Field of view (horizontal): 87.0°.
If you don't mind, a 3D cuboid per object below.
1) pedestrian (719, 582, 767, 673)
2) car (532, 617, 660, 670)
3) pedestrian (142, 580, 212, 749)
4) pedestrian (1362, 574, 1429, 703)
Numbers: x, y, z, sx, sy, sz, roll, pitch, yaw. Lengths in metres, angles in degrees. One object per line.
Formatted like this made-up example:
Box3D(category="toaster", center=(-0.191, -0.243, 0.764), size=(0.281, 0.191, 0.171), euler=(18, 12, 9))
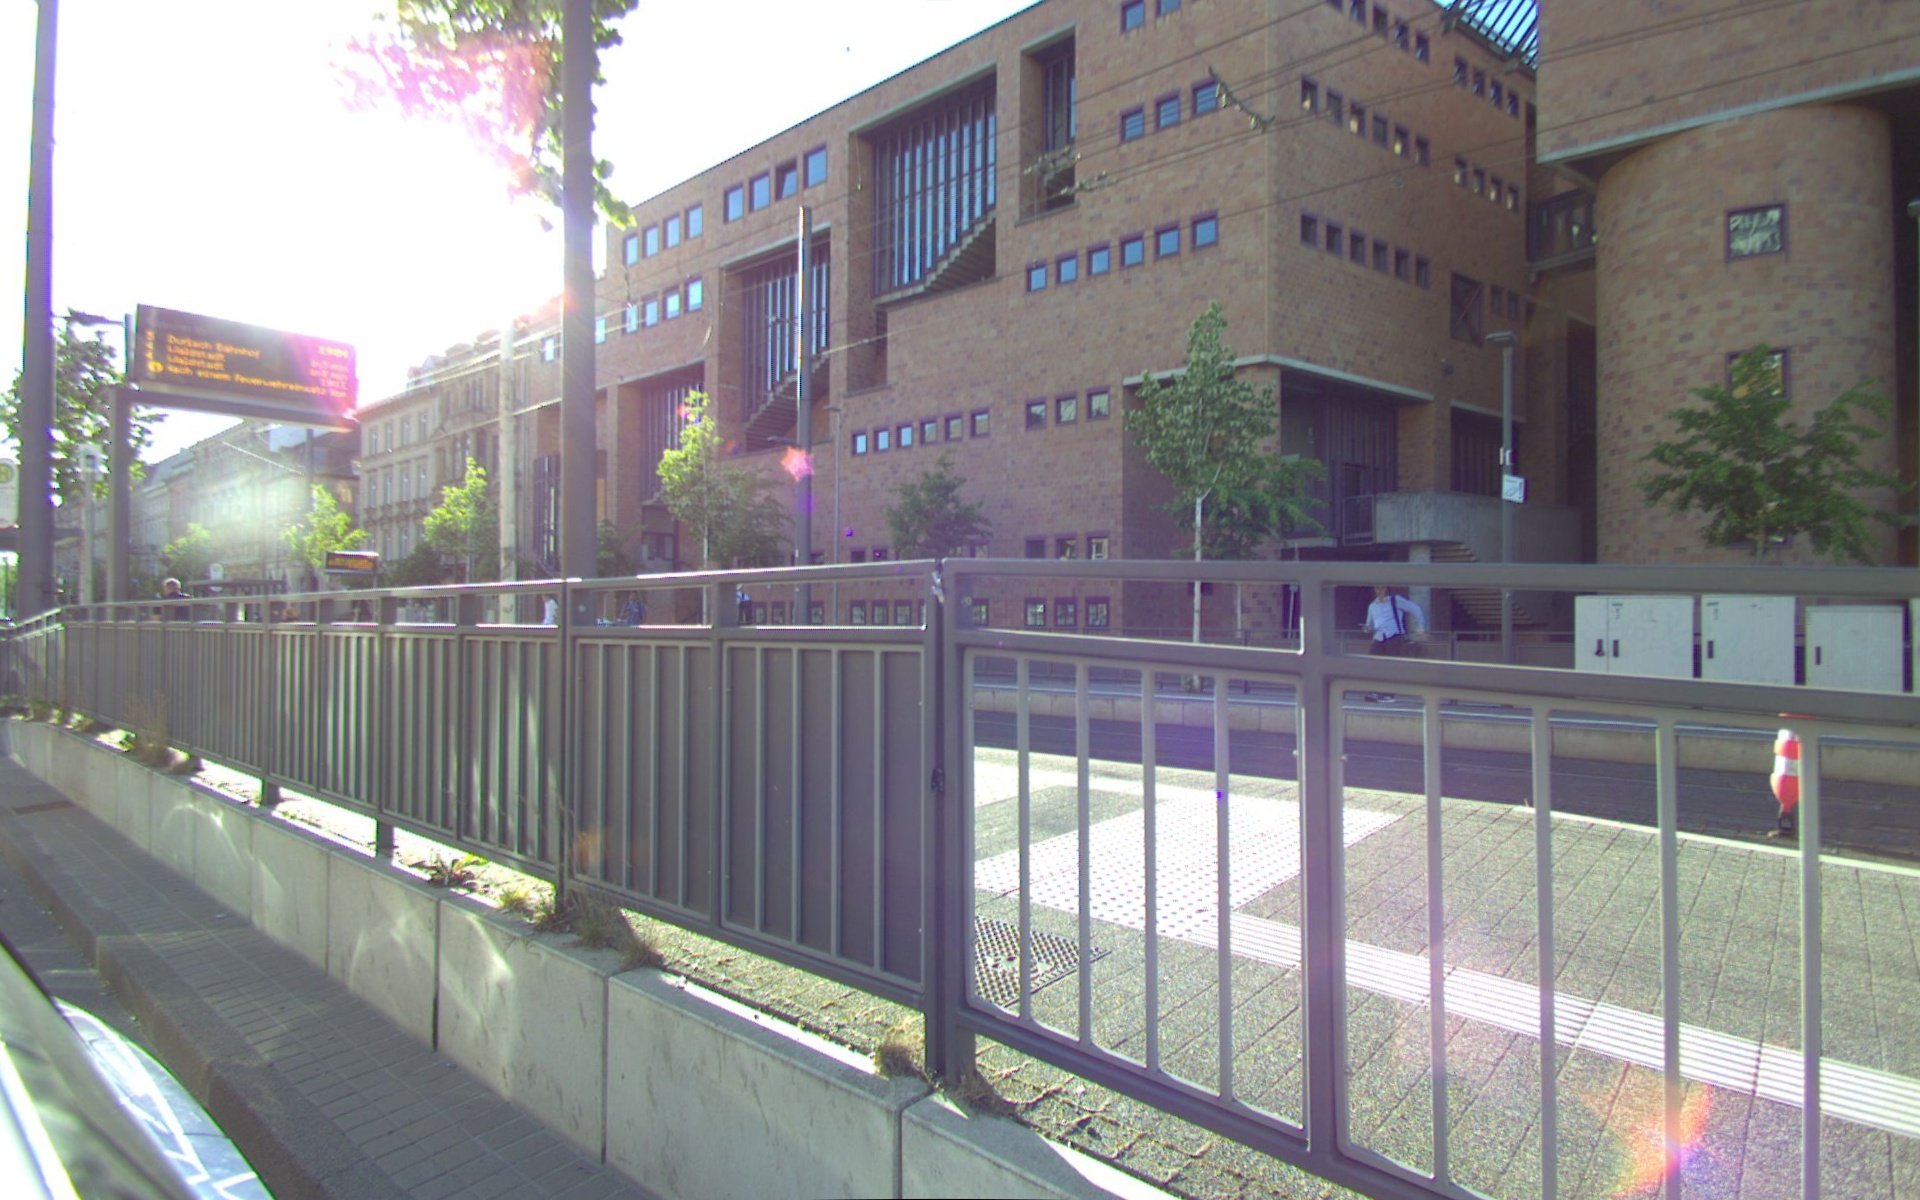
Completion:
Box3D(category="pedestrian", center=(-4.436, 0.541, 20.714), size=(0.668, 1.821, 0.677), euler=(0, 0, 40))
Box3D(category="car", center=(-11.844, 1.361, 32.784), size=(4.691, 1.580, 1.806), euler=(0, -2, 40))
Box3D(category="pedestrian", center=(-11.728, 0.933, 15.160), size=(0.625, 2.461, 0.676), euler=(0, 0, 38))
Box3D(category="pedestrian", center=(5.775, 0.492, 13.412), size=(0.684, 1.647, 0.660), euler=(0, 0, 37))
